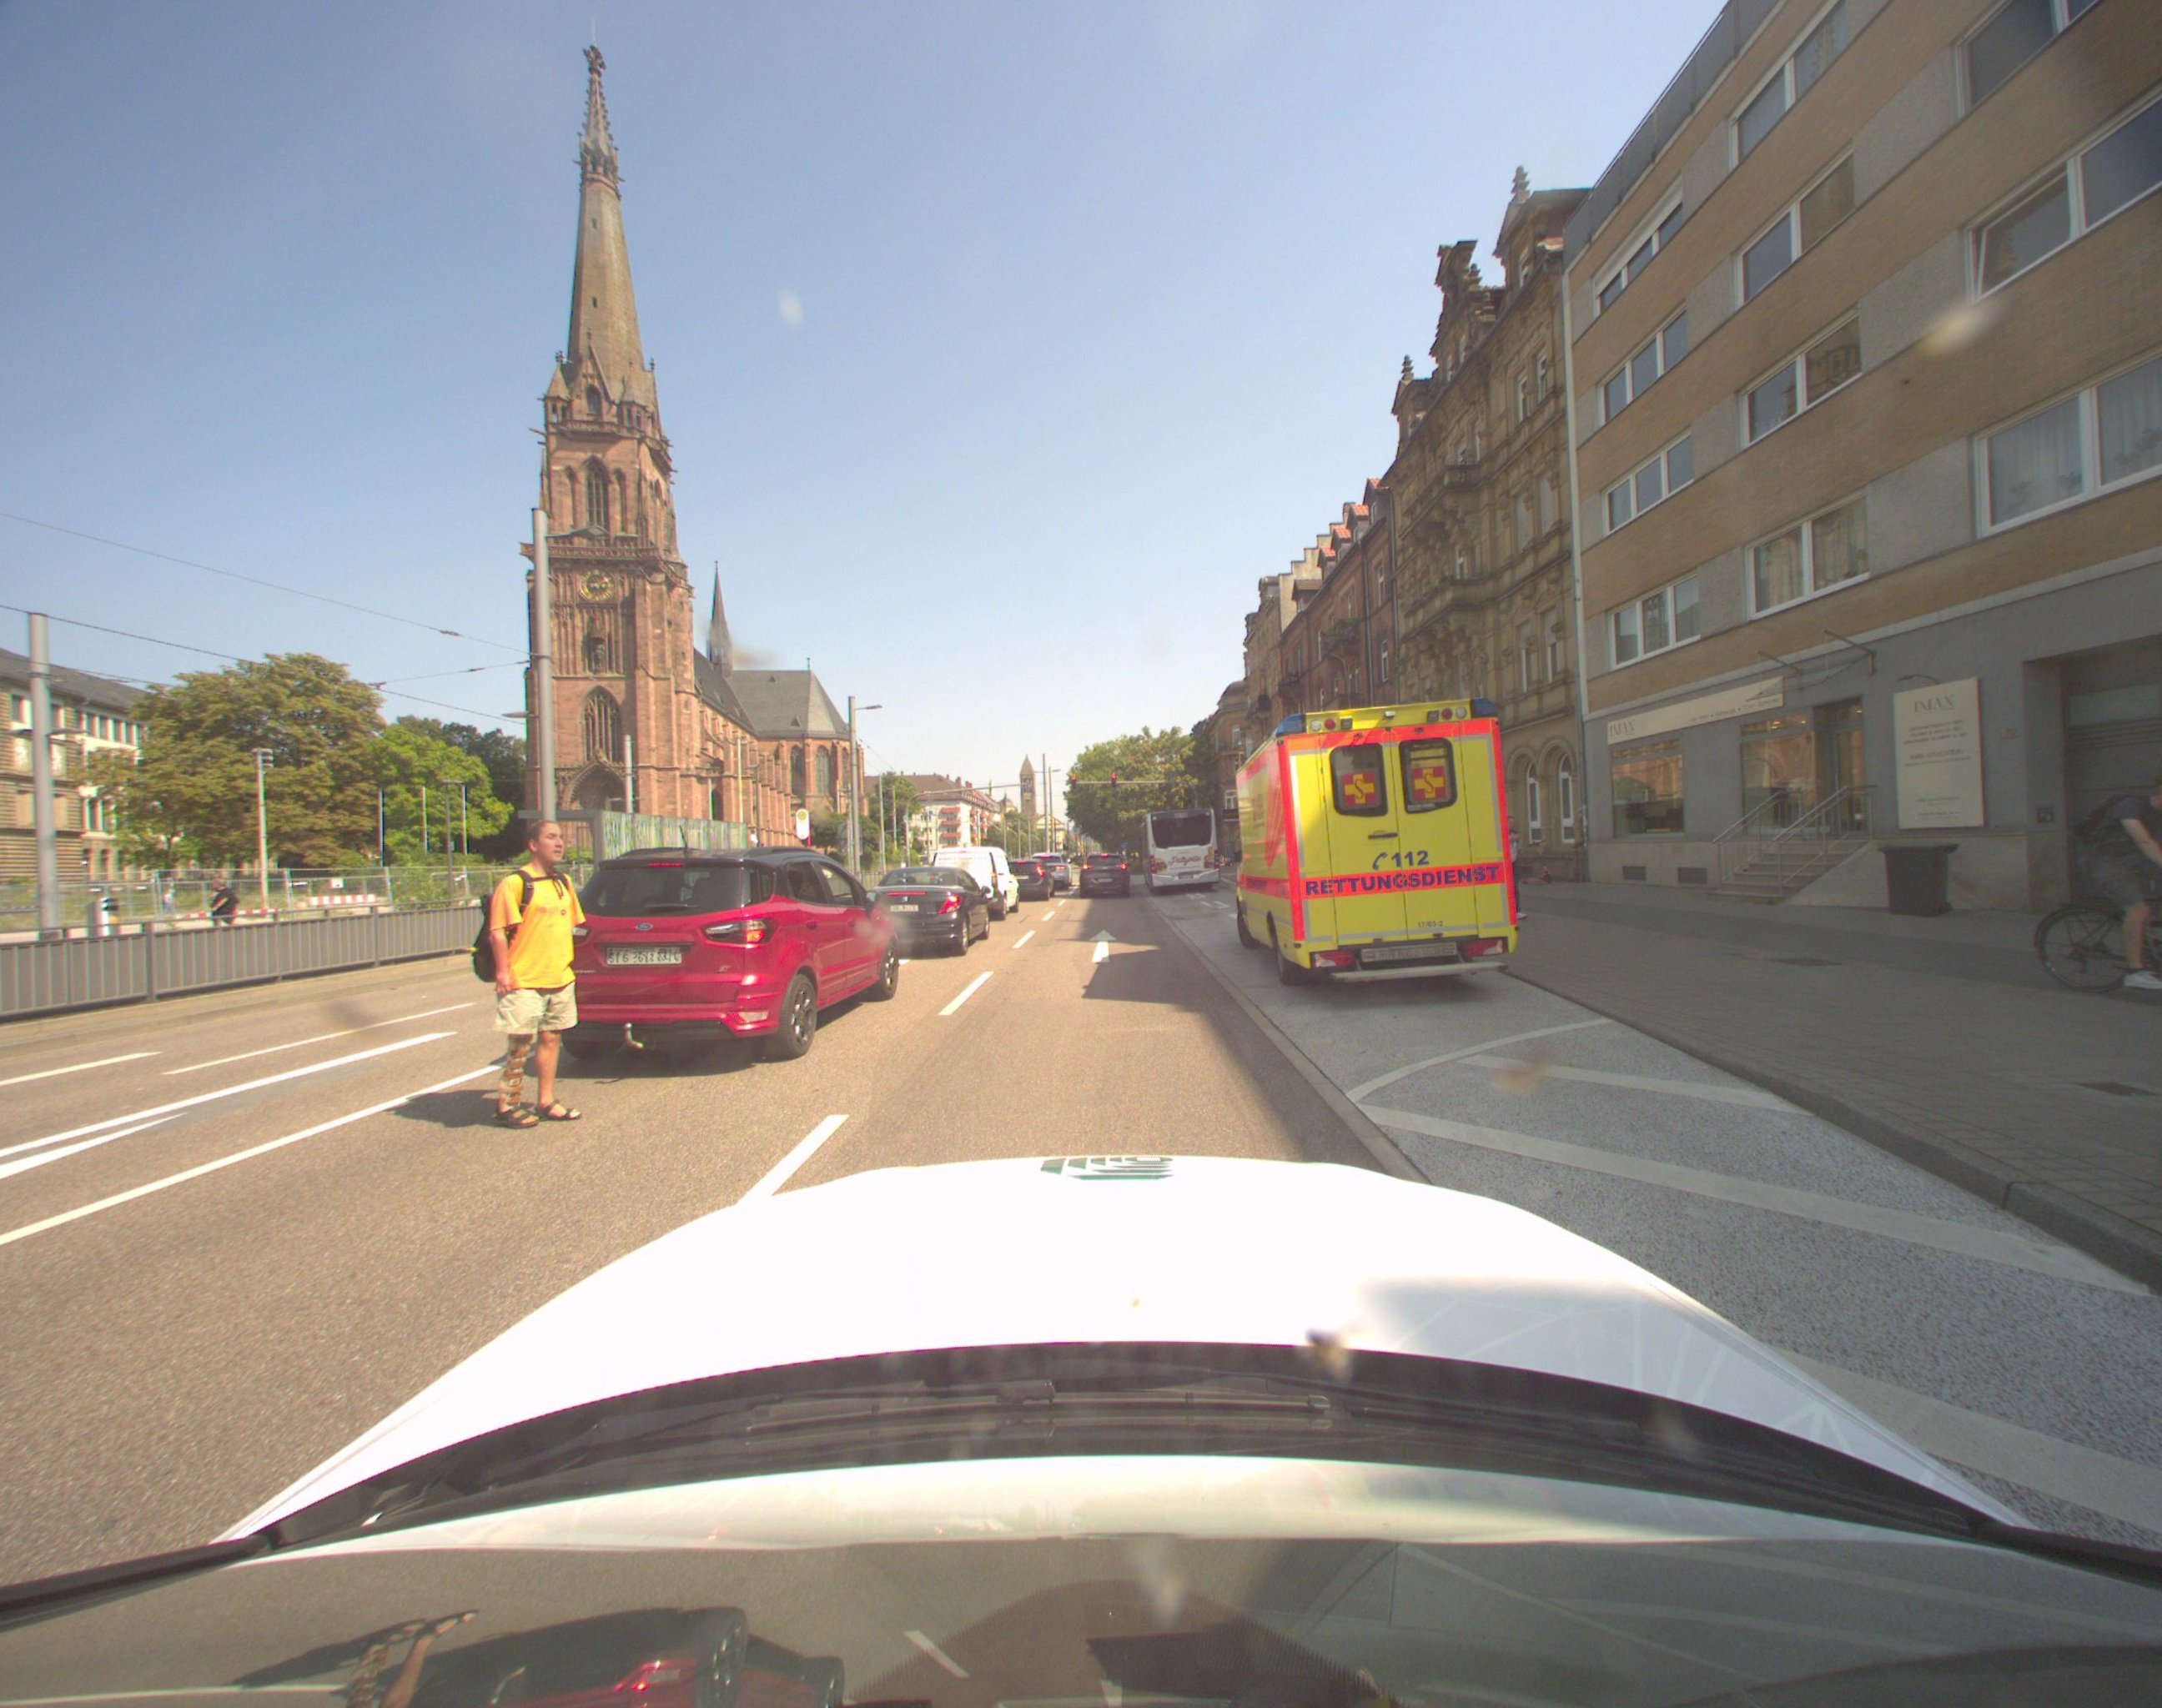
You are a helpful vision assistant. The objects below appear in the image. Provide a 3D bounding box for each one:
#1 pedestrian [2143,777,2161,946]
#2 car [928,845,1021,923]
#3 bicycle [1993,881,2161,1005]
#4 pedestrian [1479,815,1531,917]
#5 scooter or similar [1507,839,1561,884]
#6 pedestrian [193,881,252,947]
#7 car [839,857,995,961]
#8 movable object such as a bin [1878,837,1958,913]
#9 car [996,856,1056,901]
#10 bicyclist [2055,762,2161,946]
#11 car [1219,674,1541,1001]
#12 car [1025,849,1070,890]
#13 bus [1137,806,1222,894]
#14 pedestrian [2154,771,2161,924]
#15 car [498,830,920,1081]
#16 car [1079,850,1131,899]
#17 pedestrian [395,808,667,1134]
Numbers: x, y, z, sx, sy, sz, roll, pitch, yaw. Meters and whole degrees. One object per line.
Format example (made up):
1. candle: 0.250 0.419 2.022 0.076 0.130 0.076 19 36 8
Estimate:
1. pedestrian: 11.464 0.045 7.989 0.874 1.736 0.828 -5 -1 1
2. car: -2.649 0.730 21.142 1.784 1.780 4.000 -2 -1 1
3. bicycle: 8.138 0.660 6.098 0.587 0.855 1.775 -4 -1 1
4. pedestrian: 7.125 0.196 13.698 0.690 1.667 0.606 -3 0 28
5. scooter or similar: 12.650 0.213 22.764 0.513 1.196 1.296 -2 0 -17
6. pedestrian: -23.495 1.627 22.306 0.826 1.752 0.721 -2 -1 2
7. car: -2.638 0.823 14.018 1.784 1.431 4.000 -2 0 0
8. movable object such as a bin: 12.275 0.304 11.949 0.651 1.047 0.755 -3 0 -41
9. car: -1.922 0.851 29.477 1.784 1.472 4.000 -2 -1 1
10. bicyclist: 8.104 -0.012 6.144 0.750 1.322 0.582 -3 0 1
11. car: 3.234 -0.159 10.348 2.288 2.888 5.606 -3 0 5
12. car: -1.457 0.700 37.253 1.784 1.698 4.000 -2 -1 1
13. bus: 3.937 -0.142 35.240 2.524 3.032 12.442 -2 0 2
14. pedestrian: 9.462 0.127 6.516 0.641 1.685 0.789 -2 0 1
15. car: -2.915 0.716 7.507 1.754 1.618 4.086 -2 -1 4
16. car: 0.889 0.743 30.809 1.784 1.677 4.000 -2 -1 1
17. pedestrian: -3.208 0.635 4.821 1.059 1.751 0.765 -1 0 9
